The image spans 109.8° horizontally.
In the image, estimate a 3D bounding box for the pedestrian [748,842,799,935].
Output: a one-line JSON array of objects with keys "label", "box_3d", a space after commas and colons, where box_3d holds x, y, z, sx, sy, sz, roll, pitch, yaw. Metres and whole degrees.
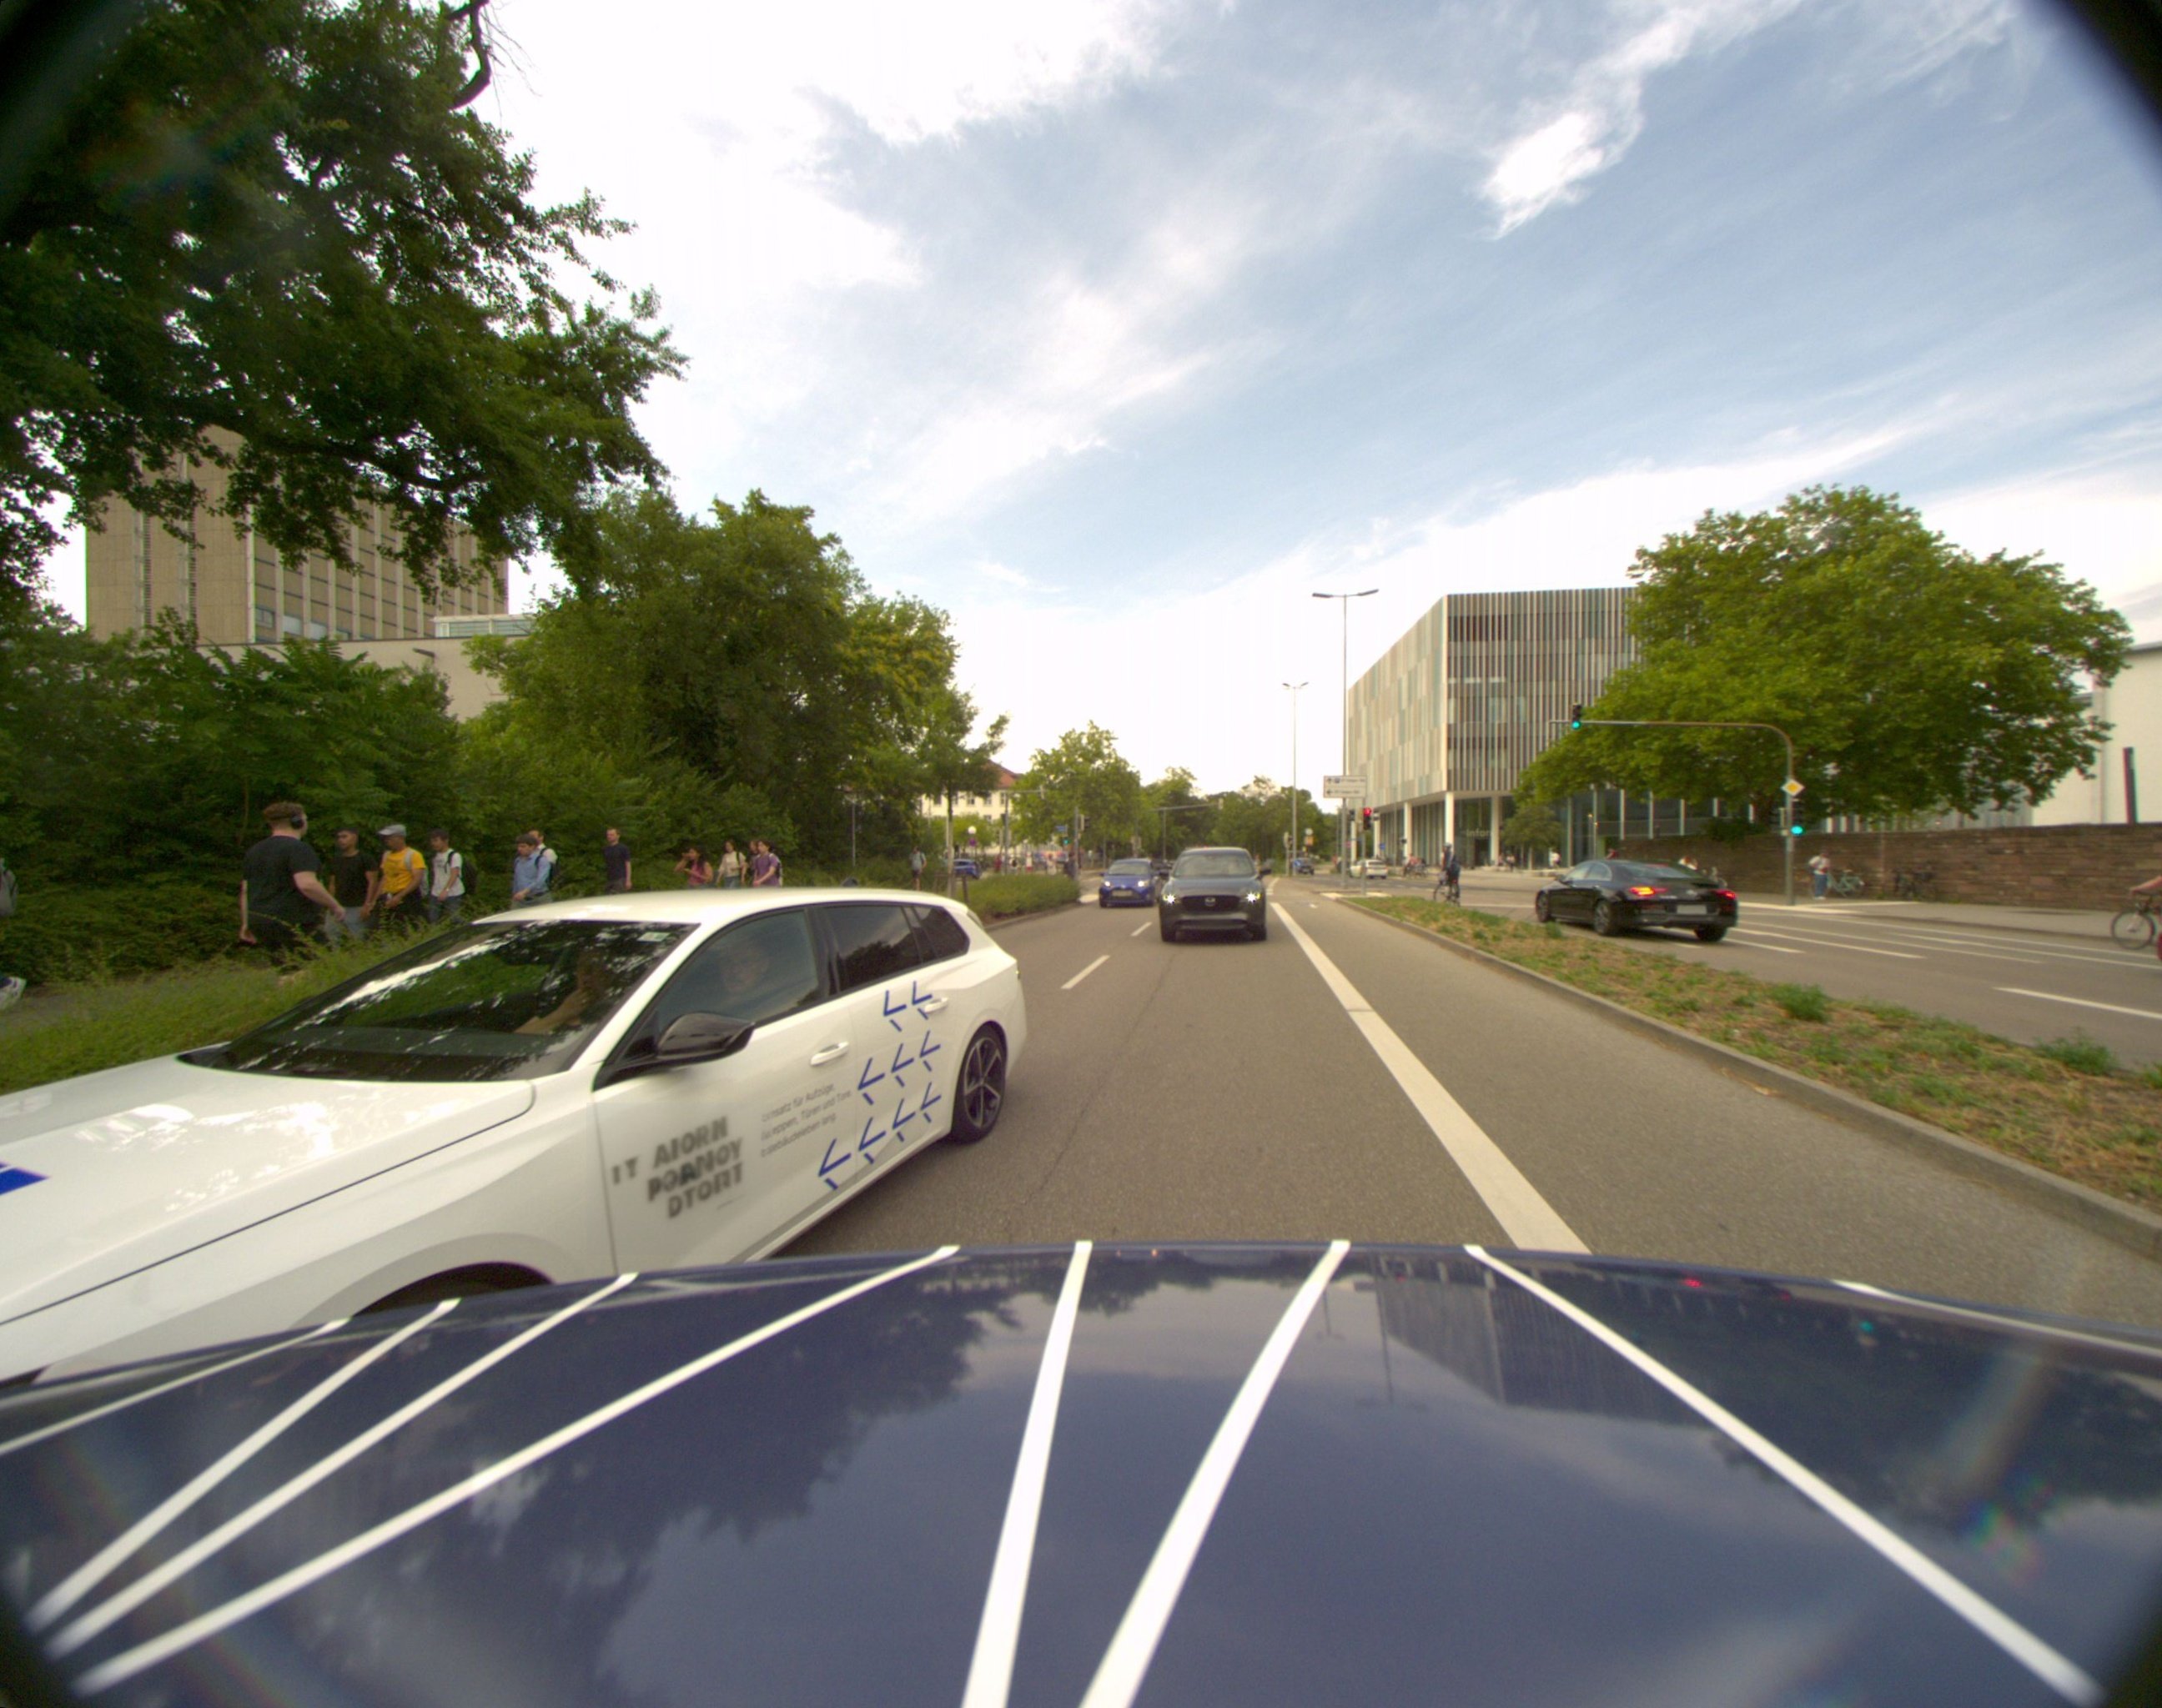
[{"label": "pedestrian", "box_3d": [-5.917, 0.640, 14.630, 0.582, 1.735, 0.790, 0, 1, 9]}]

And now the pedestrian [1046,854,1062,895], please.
[{"label": "pedestrian", "box_3d": [-1.124, 0.822, 31.433, 0.546, 1.677, 0.637, 0, 1, 9]}]

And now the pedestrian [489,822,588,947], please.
[{"label": "pedestrian", "box_3d": [-8.006, 0.439, 11.252, 0.658, 1.756, 0.958, -2, 0, 9]}]

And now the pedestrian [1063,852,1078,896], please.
[{"label": "pedestrian", "box_3d": [-0.415, 0.791, 30.039, 0.455, 1.725, 0.637, 0, 1, 9]}]

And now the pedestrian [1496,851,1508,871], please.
[{"label": "pedestrian", "box_3d": [37.890, 0.632, 68.376, 0.731, 1.730, 0.677, -1, 1, -26]}]

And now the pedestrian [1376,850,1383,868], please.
[{"label": "pedestrian", "box_3d": [29.846, 0.489, 76.034, 0.512, 1.826, 0.625, 0, 0, 7]}]

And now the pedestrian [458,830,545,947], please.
[{"label": "pedestrian", "box_3d": [-8.695, 0.494, 11.425, 0.658, 1.689, 0.780, 0, 1, 9]}]

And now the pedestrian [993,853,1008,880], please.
[{"label": "pedestrian", "box_3d": [-5.473, 0.843, 51.760, 0.768, 1.794, 0.892, -1, 0, 13]}]

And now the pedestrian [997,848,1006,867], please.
[{"label": "pedestrian", "box_3d": [-8.248, 0.380, 78.422, 0.687, 1.951, 0.601, -2, 1, -31]}]

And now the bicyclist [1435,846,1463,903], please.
[{"label": "bicyclist", "box_3d": [10.257, 0.566, 21.190, 0.573, 1.564, 0.700, 0, 0, 15]}]

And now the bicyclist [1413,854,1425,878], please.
[{"label": "bicyclist", "box_3d": [25.532, 0.874, 57.409, 0.601, 1.796, 0.561, 0, 1, -7]}]

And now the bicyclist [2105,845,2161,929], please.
[{"label": "bicyclist", "box_3d": [18.463, 0.559, 13.088, 0.581, 1.410, 0.812, 0, 1, 11]}]

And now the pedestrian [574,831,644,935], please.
[{"label": "pedestrian", "box_3d": [-8.068, 0.480, 13.013, 0.658, 1.735, 0.780, 0, 1, 9]}]

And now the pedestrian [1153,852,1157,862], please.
[{"label": "pedestrian", "box_3d": [14.076, 0.624, 145.062, 0.797, 1.922, 0.760, 0, 1, 7]}]

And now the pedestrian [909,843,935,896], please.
[{"label": "pedestrian", "box_3d": [-5.497, 0.530, 26.227, 0.646, 1.785, 0.741, 0, 1, 9]}]

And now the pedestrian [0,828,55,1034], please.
[{"label": "pedestrian", "box_3d": [-9.446, 0.646, 6.338, 0.722, 1.734, 0.813, 0, 1, 11]}]

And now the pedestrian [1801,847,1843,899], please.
[{"label": "pedestrian", "box_3d": [25.710, 0.636, 26.383, 0.748, 1.772, 0.782, -1, 2, -24]}]

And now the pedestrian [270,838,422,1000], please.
[{"label": "pedestrian", "box_3d": [-7.962, 0.665, 8.276, 0.658, 1.657, 0.972, 0, 1, 9]}]

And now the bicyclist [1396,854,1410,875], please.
[{"label": "bicyclist", "box_3d": [25.824, 0.809, 60.868, 0.728, 1.663, 0.723, -2, 1, -6]}]

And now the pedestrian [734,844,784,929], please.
[{"label": "pedestrian", "box_3d": [-6.734, 0.654, 15.912, 0.658, 1.735, 0.780, 0, 1, 9]}]

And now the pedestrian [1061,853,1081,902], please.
[{"label": "pedestrian", "box_3d": [-0.348, 0.828, 27.099, 0.602, 1.725, 0.655, 0, 1, 9]}]

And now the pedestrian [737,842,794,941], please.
[{"label": "pedestrian", "box_3d": [-5.682, 0.653, 13.702, 0.625, 1.735, 0.780, 0, 1, 9]}]

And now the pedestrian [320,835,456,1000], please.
[{"label": "pedestrian", "box_3d": [-7.434, 0.644, 8.190, 0.658, 1.679, 0.842, 0, 1, 9]}]

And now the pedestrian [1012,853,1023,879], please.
[{"label": "pedestrian", "box_3d": [-4.498, 0.845, 53.885, 0.646, 1.841, 0.829, -1, 1, -3]}]

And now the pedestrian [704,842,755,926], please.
[{"label": "pedestrian", "box_3d": [-7.407, 0.614, 16.029, 0.658, 1.735, 0.780, 0, 1, 9]}]

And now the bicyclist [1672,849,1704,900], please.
[{"label": "bicyclist", "box_3d": [21.553, 0.722, 26.986, 0.619, 1.772, 0.812, 0, 1, 16]}]

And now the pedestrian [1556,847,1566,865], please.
[{"label": "pedestrian", "box_3d": [47.769, 0.213, 75.606, 0.597, 1.768, 0.635, -1, 1, -37]}]

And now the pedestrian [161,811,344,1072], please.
[{"label": "pedestrian", "box_3d": [-6.451, 0.610, 5.922, 0.934, 1.820, 0.889, 1, 1, 38]}]

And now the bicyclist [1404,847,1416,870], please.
[{"label": "bicyclist", "box_3d": [25.516, 0.341, 58.927, 0.601, 1.796, 0.561, -2, 1, -6]}]

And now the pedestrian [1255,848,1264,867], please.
[{"label": "pedestrian", "box_3d": [17.714, 0.346, 75.318, 0.727, 1.843, 1.065, 0, 1, 6]}]

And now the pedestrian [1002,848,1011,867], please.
[{"label": "pedestrian", "box_3d": [-7.745, 0.335, 79.005, 0.687, 1.951, 0.601, -2, 1, -31]}]

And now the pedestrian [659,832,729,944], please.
[{"label": "pedestrian", "box_3d": [-6.186, 0.527, 12.188, 0.658, 1.735, 0.780, 0, 1, 9]}]

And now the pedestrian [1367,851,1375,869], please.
[{"label": "pedestrian", "box_3d": [29.035, 0.571, 76.098, 0.512, 1.826, 0.773, 0, 0, 7]}]

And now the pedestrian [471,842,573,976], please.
[{"label": "pedestrian", "box_3d": [-7.147, 0.671, 9.742, 0.658, 1.638, 0.813, 0, 1, 9]}]
